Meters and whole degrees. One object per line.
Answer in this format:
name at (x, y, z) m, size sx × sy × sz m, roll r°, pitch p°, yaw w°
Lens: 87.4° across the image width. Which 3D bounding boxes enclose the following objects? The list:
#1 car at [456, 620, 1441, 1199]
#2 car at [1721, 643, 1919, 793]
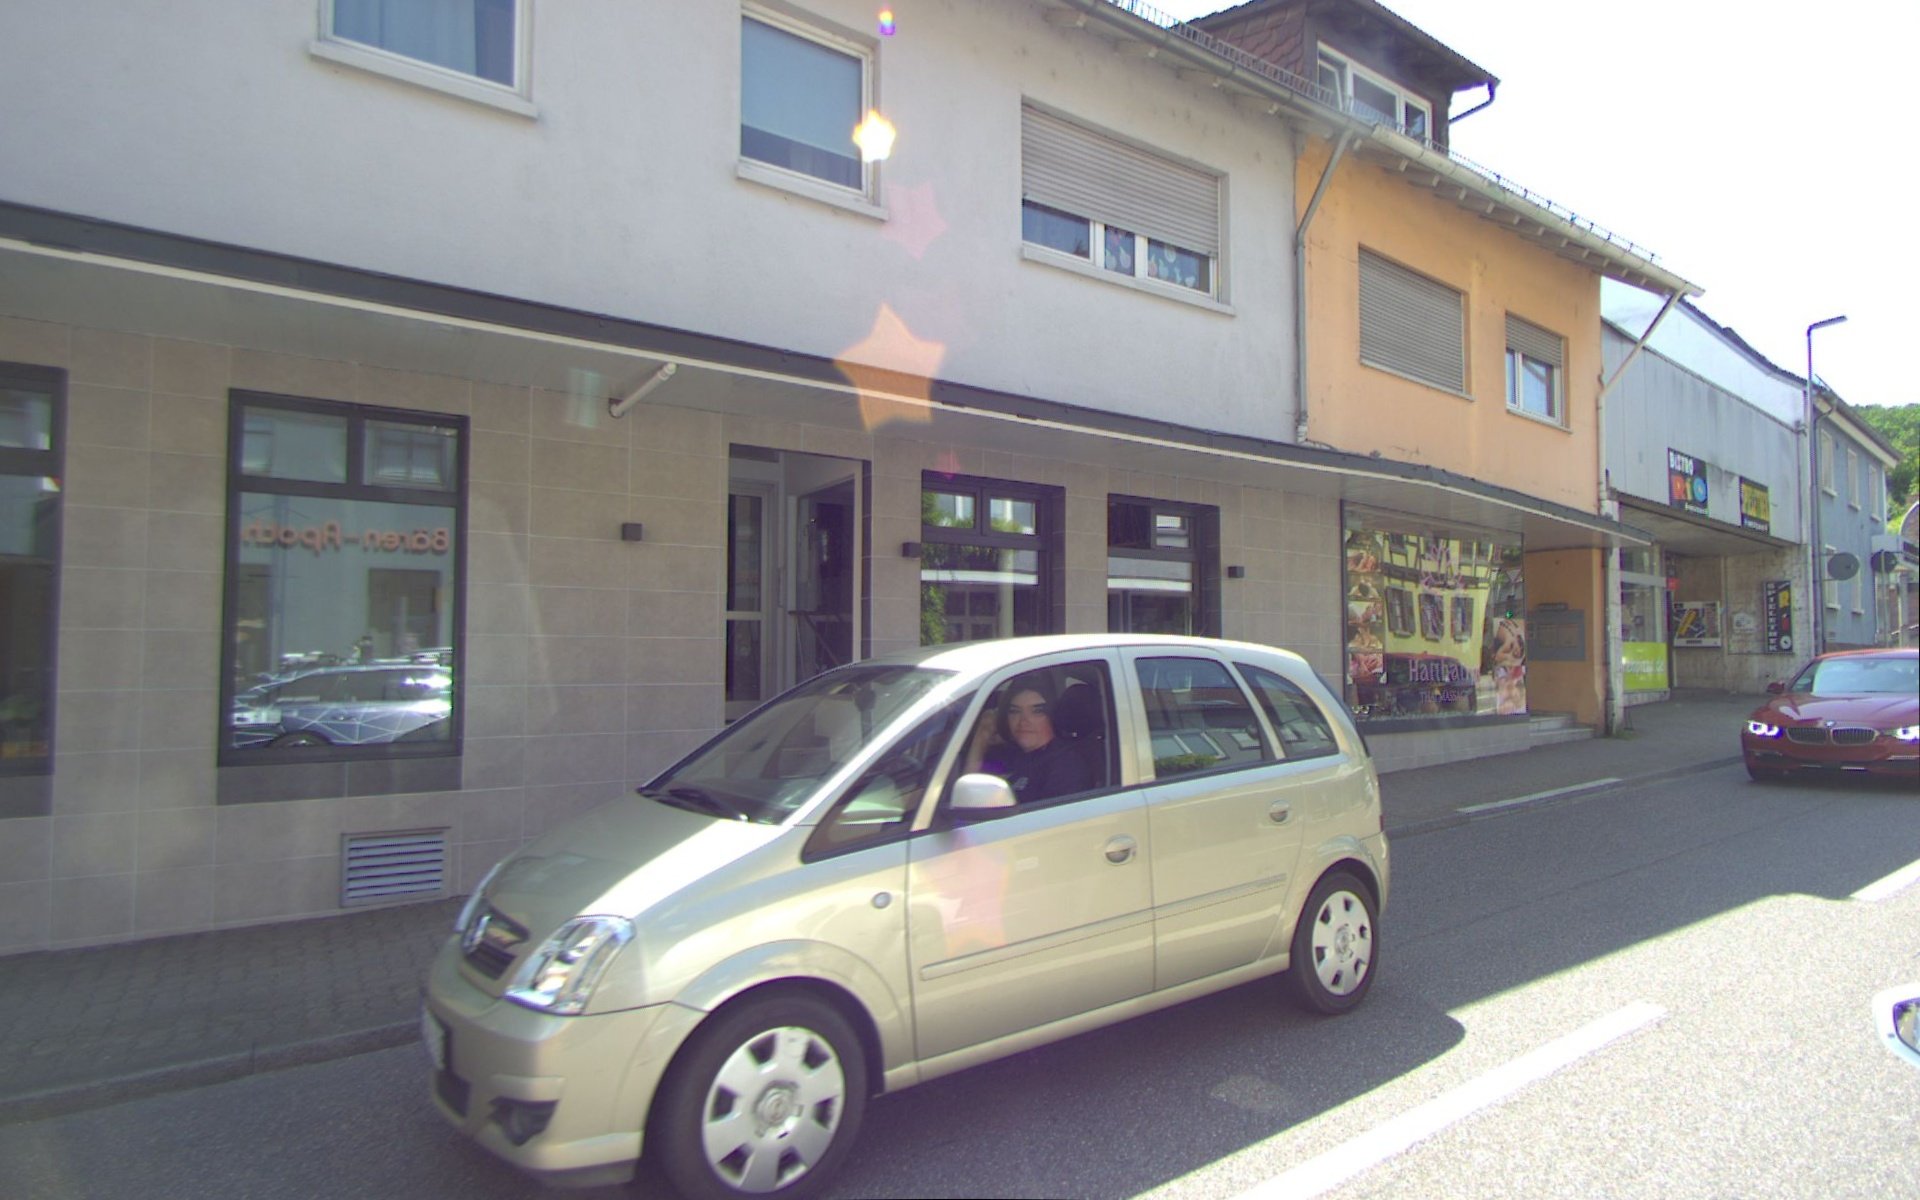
car at (0.129, 0.960, 4.165) m, size 3.783 × 1.638 × 1.669 m, roll 0°, pitch -4°, yaw -35°
car at (10.696, 1.245, 11.626) m, size 4.240 × 1.427 × 1.708 m, roll 0°, pitch -5°, yaw -35°
